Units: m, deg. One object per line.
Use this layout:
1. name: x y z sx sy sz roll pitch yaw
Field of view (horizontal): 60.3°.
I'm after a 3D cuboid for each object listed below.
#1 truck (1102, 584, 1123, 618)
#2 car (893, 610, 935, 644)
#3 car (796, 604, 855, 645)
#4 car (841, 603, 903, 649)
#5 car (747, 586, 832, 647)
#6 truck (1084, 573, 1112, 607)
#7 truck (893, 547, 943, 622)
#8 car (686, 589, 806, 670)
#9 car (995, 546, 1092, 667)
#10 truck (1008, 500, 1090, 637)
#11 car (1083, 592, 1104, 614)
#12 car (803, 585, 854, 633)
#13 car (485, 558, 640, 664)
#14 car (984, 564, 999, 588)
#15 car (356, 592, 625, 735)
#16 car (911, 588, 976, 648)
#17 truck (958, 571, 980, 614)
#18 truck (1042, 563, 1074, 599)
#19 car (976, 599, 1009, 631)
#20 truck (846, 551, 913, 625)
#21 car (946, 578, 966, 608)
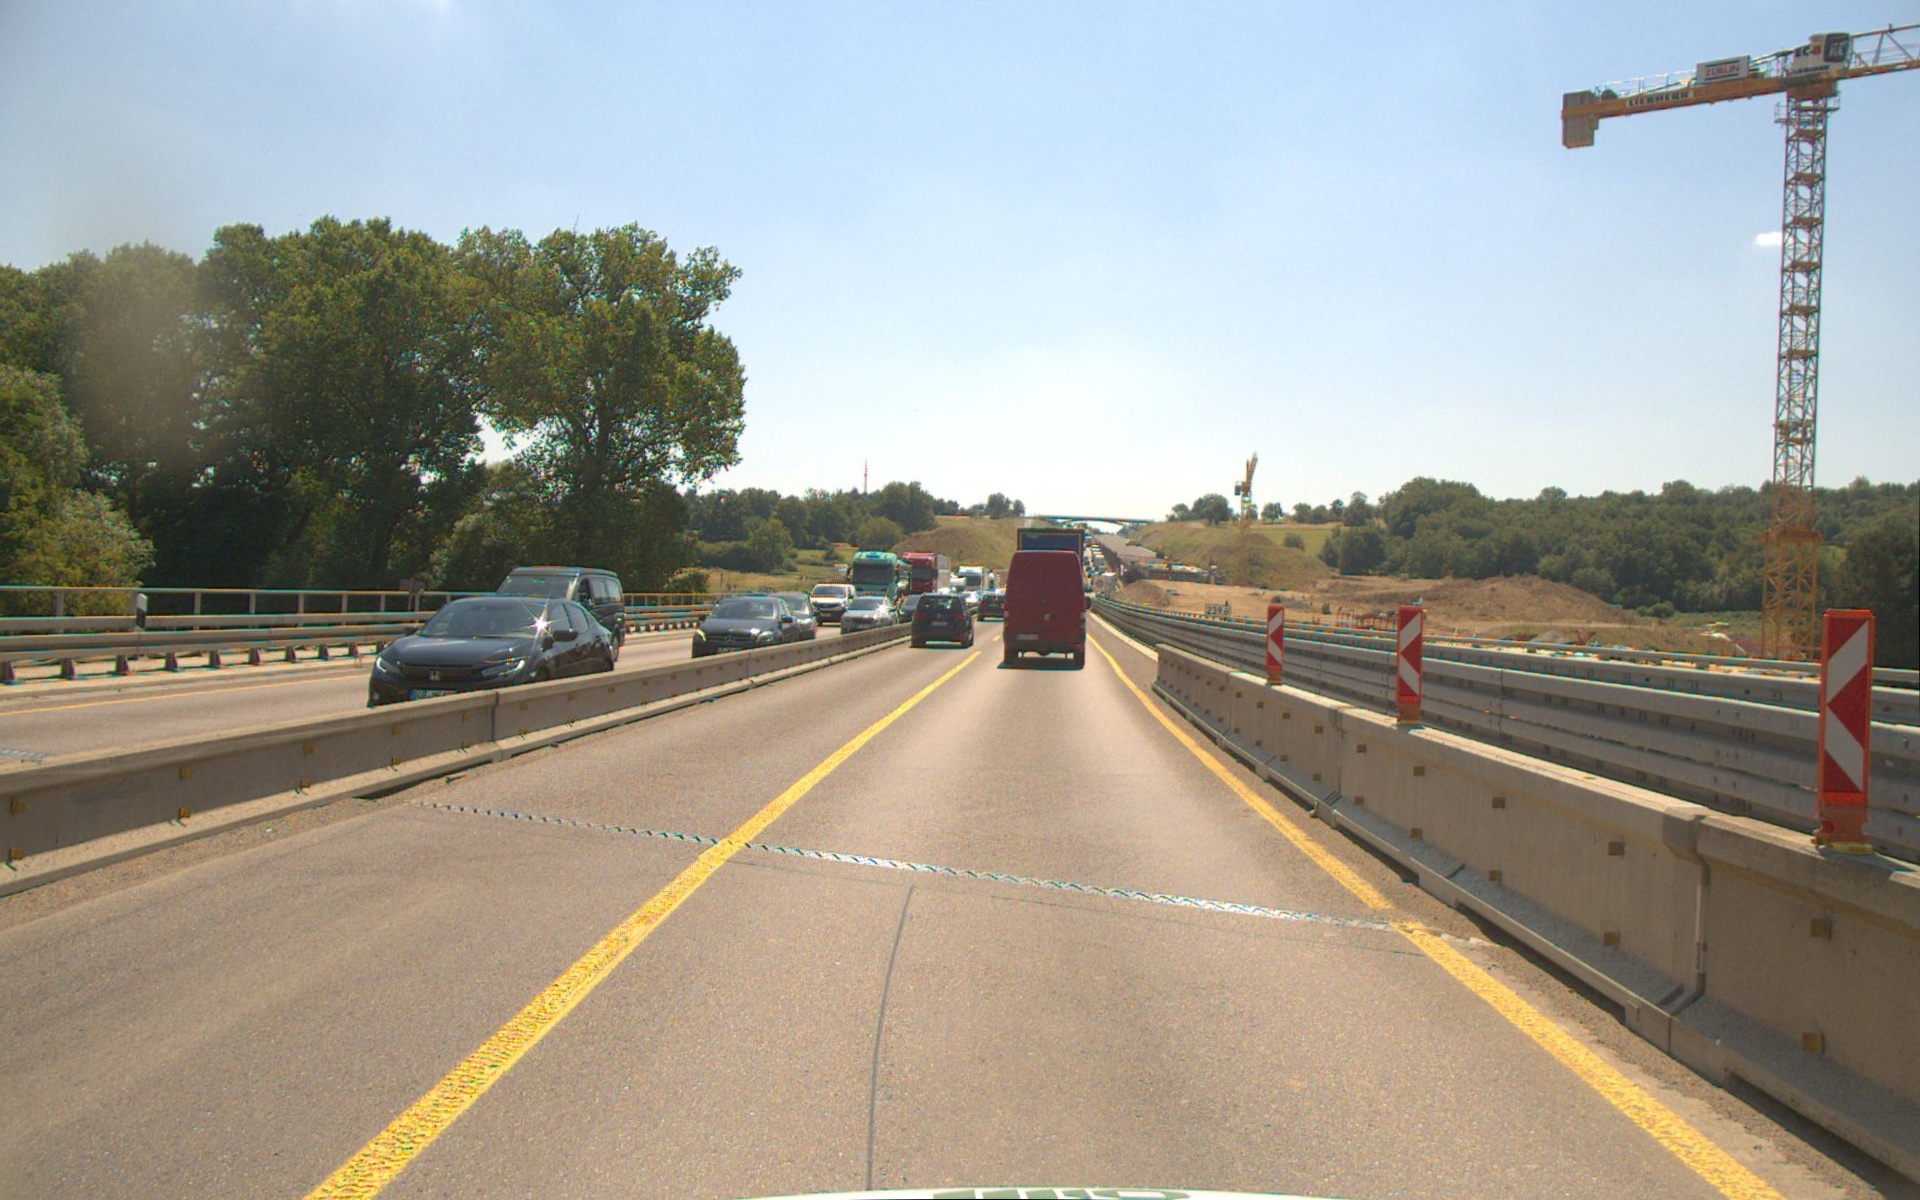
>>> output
1. truck: 19.056 0.193 206.940 2.243 3.805 6.483 2 -4 3
2. car: -2.238 1.286 81.315 1.783 1.522 4.135 2 0 2
3. car: -5.477 0.970 67.956 1.783 1.522 5.174 2 0 2
4. car: -3.085 0.896 58.868 1.783 1.522 4.135 2 0 2
5. car: -4.604 0.423 45.217 1.690 1.522 4.135 2 0 2
6. truck: 13.429 -0.957 161.152 2.244 3.252 6.484 2 0 2
7. truck: -2.958 -1.067 120.360 2.750 5.025 12.137 2 0 2
8. car: -4.416 0.587 34.773 1.720 1.522 4.441 2 0 2
9. car: 2.019 0.141 40.524 2.105 2.656 5.440 3 0 2
10. truck: 3.409 -1.171 64.970 2.884 5.032 6.742 2 0 1
11. car: 11.367 0.244 141.300 1.584 1.729 3.891 2 0 3
12. car: -5.963 0.388 75.363 1.953 2.049 4.000 2 0 0
13. car: -8.207 0.216 34.666 1.783 1.977 5.065 2 0 2
14. car: 3.822 -2.885 199.856 1.584 2.648 3.890 2 -1 2
15. car: -5.259 0.653 19.154 1.634 1.389 4.441 2 0 2
16. car: -0.459 0.523 51.676 1.698 1.663 4.392 2 1 3
17. truck: 0.992 -0.748 173.189 1.952 4.076 6.483 2 -4 3
18. truck: 10.247 -1.925 173.869 3.117 3.030 8.900 2 -4 3
19. car: 1.884 0.835 94.783 1.783 1.726 4.135 2 0 2
20. truck: -4.667 -0.677 98.320 2.750 4.033 12.137 2 0 2
21. car: -0.356 -0.612 149.955 1.584 2.647 3.891 2 0 3
